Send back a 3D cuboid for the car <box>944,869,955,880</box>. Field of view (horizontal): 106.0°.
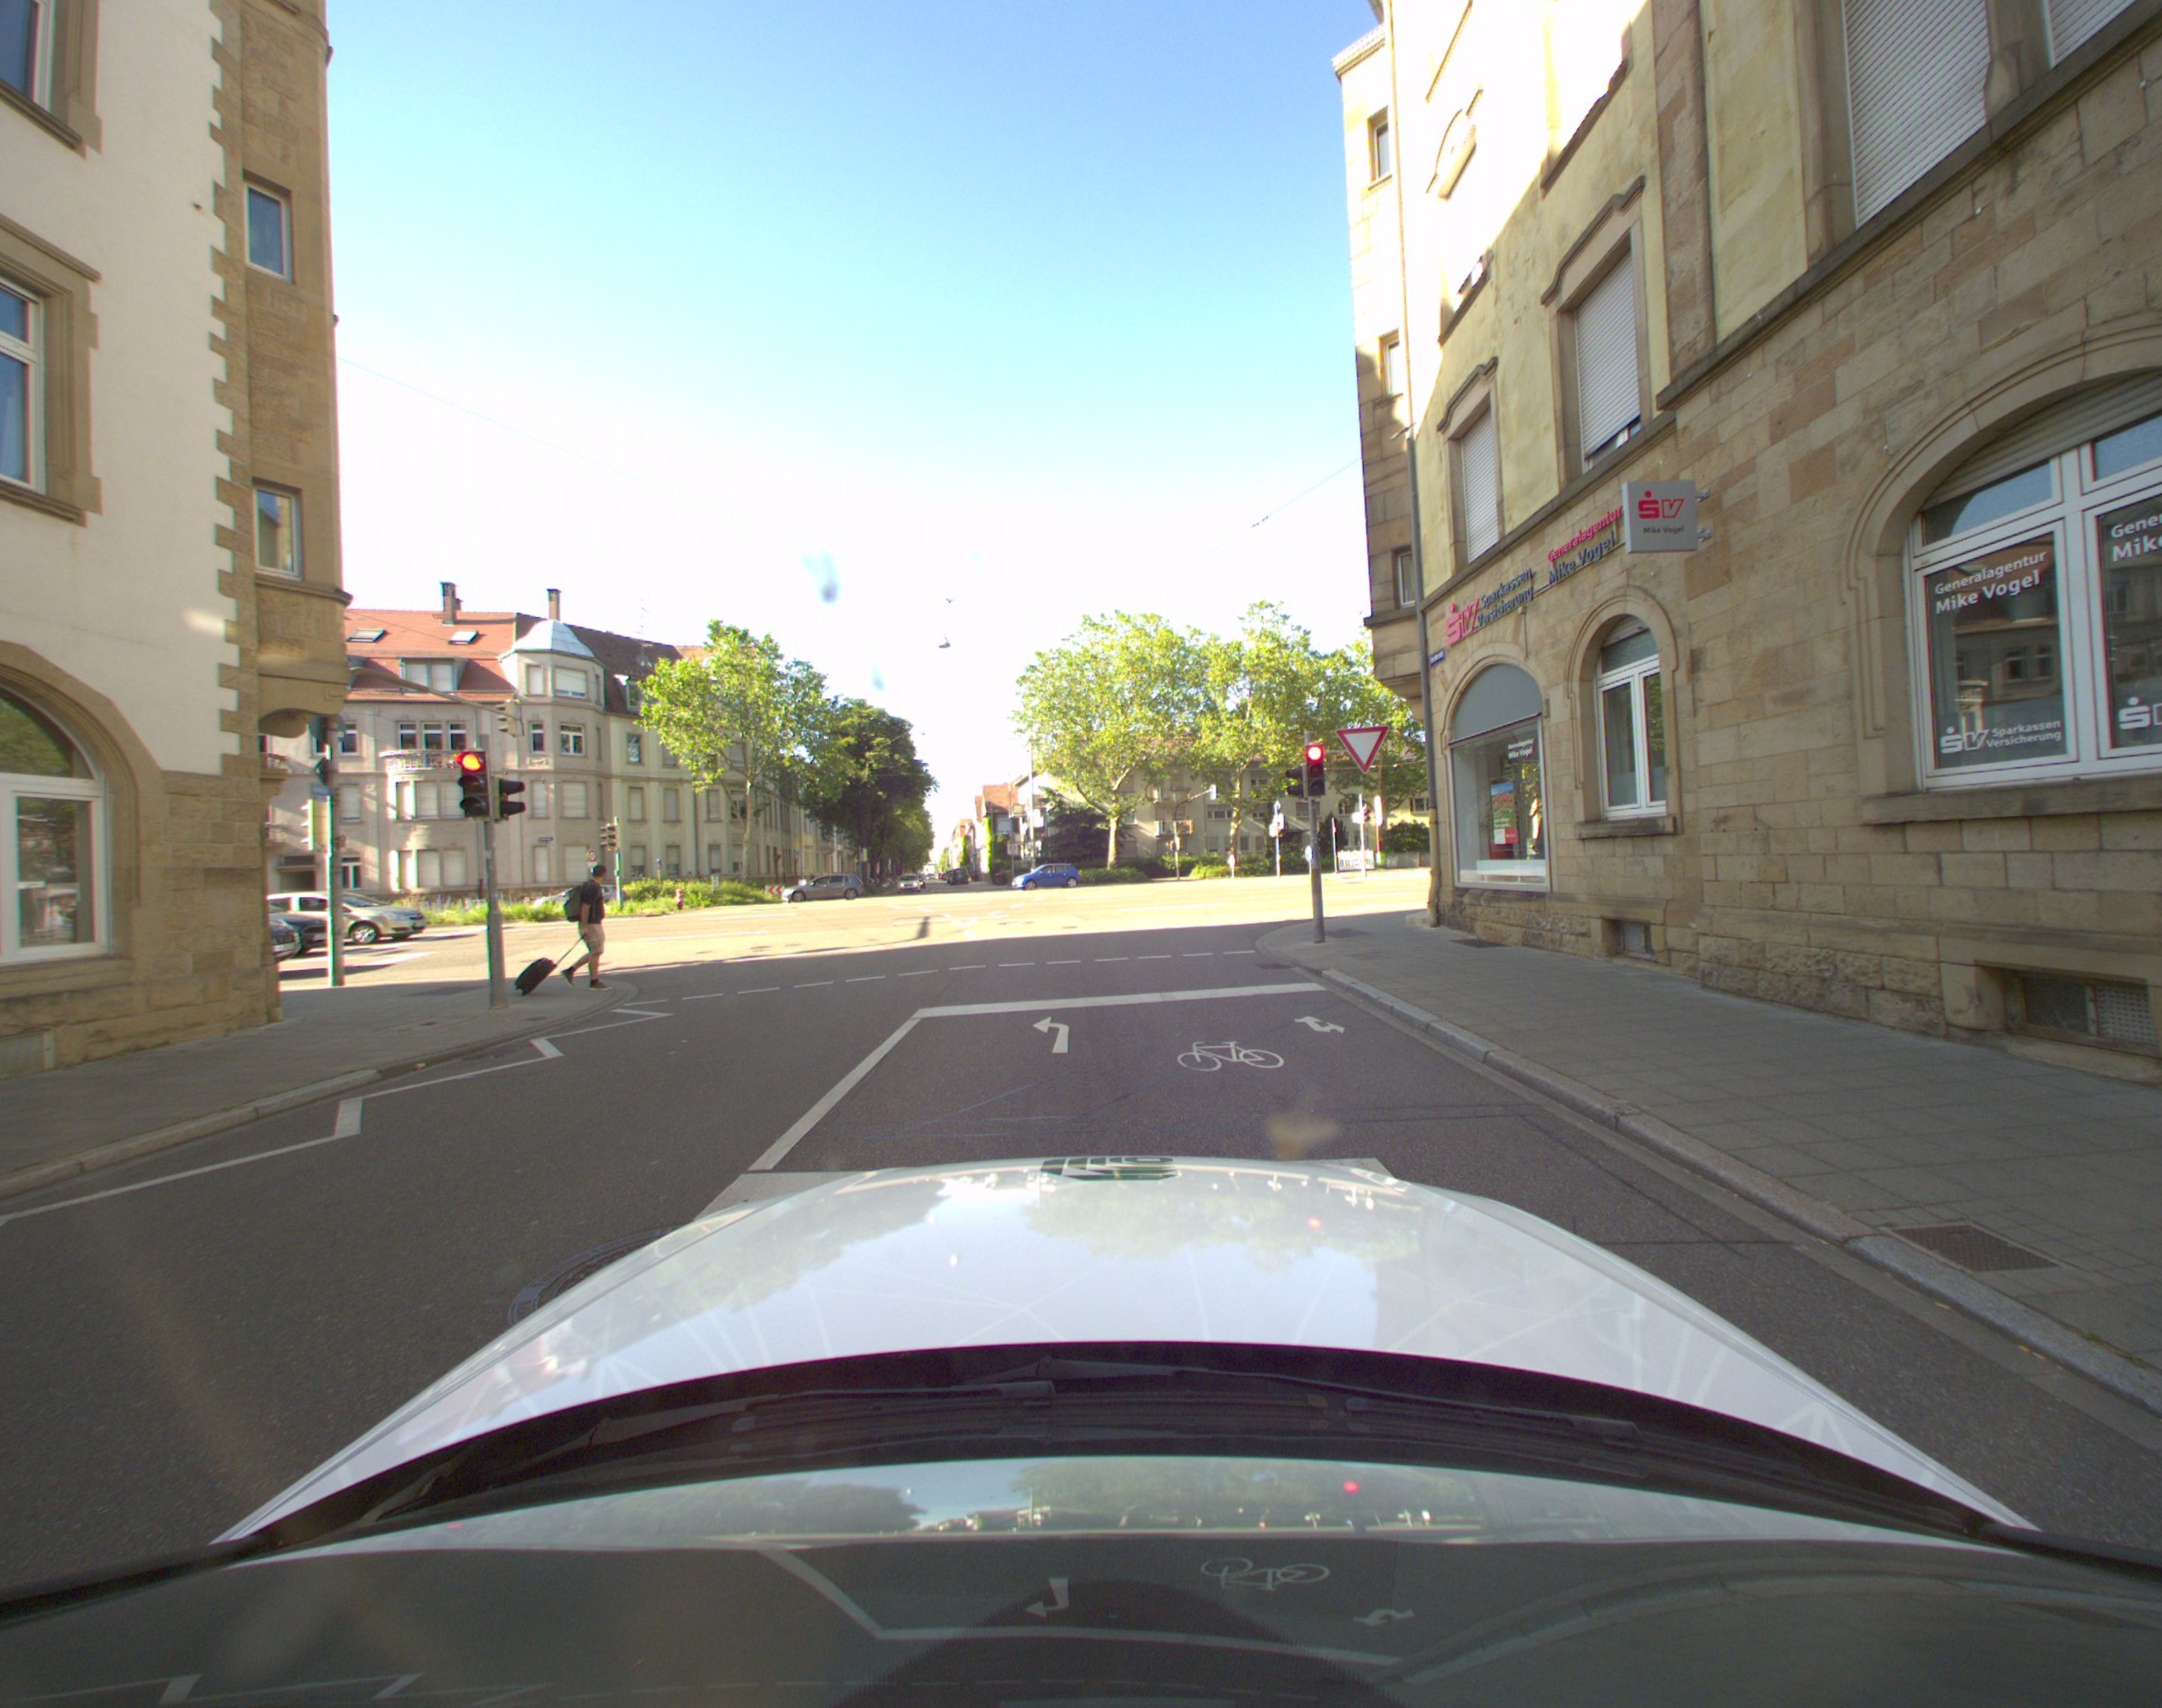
[{"bbox_3d":[-23.751,3.702,147.184,1.773,1.918,3.522,-4,0,-10],"label":"car"}]

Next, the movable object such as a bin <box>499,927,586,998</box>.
[{"bbox_3d":[-7.409,1.481,11.233,0.862,0.892,0.507,0,-1,-11],"label":"movable object such as a bin"}]

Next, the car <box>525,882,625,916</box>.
[{"bbox_3d":[-24.338,2.136,39.333,3.793,1.400,1.635,-2,0,-20],"label":"car"}]

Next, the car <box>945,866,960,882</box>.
[{"bbox_3d":[-16.565,2.549,105.203,1.773,1.918,3.522,-4,0,-10],"label":"car"}]

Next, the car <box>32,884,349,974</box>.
[{"bbox_3d":[-20.191,1.639,18.714,4.668,1.664,1.722,-2,0,-14],"label":"car"}]

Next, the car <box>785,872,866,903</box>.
[{"bbox_3d":[-13.462,1.728,42.962,3.953,1.400,1.634,-2,0,-21],"label":"car"}]

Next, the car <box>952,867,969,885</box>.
[{"bbox_3d":[-14.084,2.508,94.941,1.773,1.918,3.522,-4,0,-10],"label":"car"}]

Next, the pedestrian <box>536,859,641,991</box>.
[{"bbox_3d":[-7.149,1.011,11.874,1.066,1.849,0.746,1,-1,-11],"label":"pedestrian"}]

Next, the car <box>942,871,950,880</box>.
[{"bbox_3d":[-30.126,4.809,181.727,1.773,1.918,3.522,-4,0,-10],"label":"car"}]

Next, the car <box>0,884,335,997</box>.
[{"bbox_3d":[-17.356,1.528,15.086,4.707,1.694,2.066,-2,0,-18],"label":"car"}]

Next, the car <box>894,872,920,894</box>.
[{"bbox_3d":[-13.594,2.266,63.817,1.698,1.483,3.522,-4,0,-10],"label":"car"}]

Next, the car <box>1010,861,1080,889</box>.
[{"bbox_3d":[-2.107,1.204,47.521,3.788,1.400,1.637,-2,0,-16],"label":"car"}]

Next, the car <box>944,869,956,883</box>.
[{"bbox_3d":[-20.742,3.478,128.816,1.773,1.918,3.522,-4,0,-10],"label":"car"}]

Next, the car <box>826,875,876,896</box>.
[{"bbox_3d":[-17.951,2.470,63.714,3.636,1.457,1.650,-2,0,-14],"label":"car"}]

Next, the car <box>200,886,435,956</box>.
[{"bbox_3d":[-20.216,1.725,21.775,4.211,1.456,1.669,-3,0,-16],"label":"car"}]

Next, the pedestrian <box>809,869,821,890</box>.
[{"bbox_3d":[-18.695,1.764,57.228,0.702,1.442,0.488,0,-1,-9],"label":"pedestrian"}]
